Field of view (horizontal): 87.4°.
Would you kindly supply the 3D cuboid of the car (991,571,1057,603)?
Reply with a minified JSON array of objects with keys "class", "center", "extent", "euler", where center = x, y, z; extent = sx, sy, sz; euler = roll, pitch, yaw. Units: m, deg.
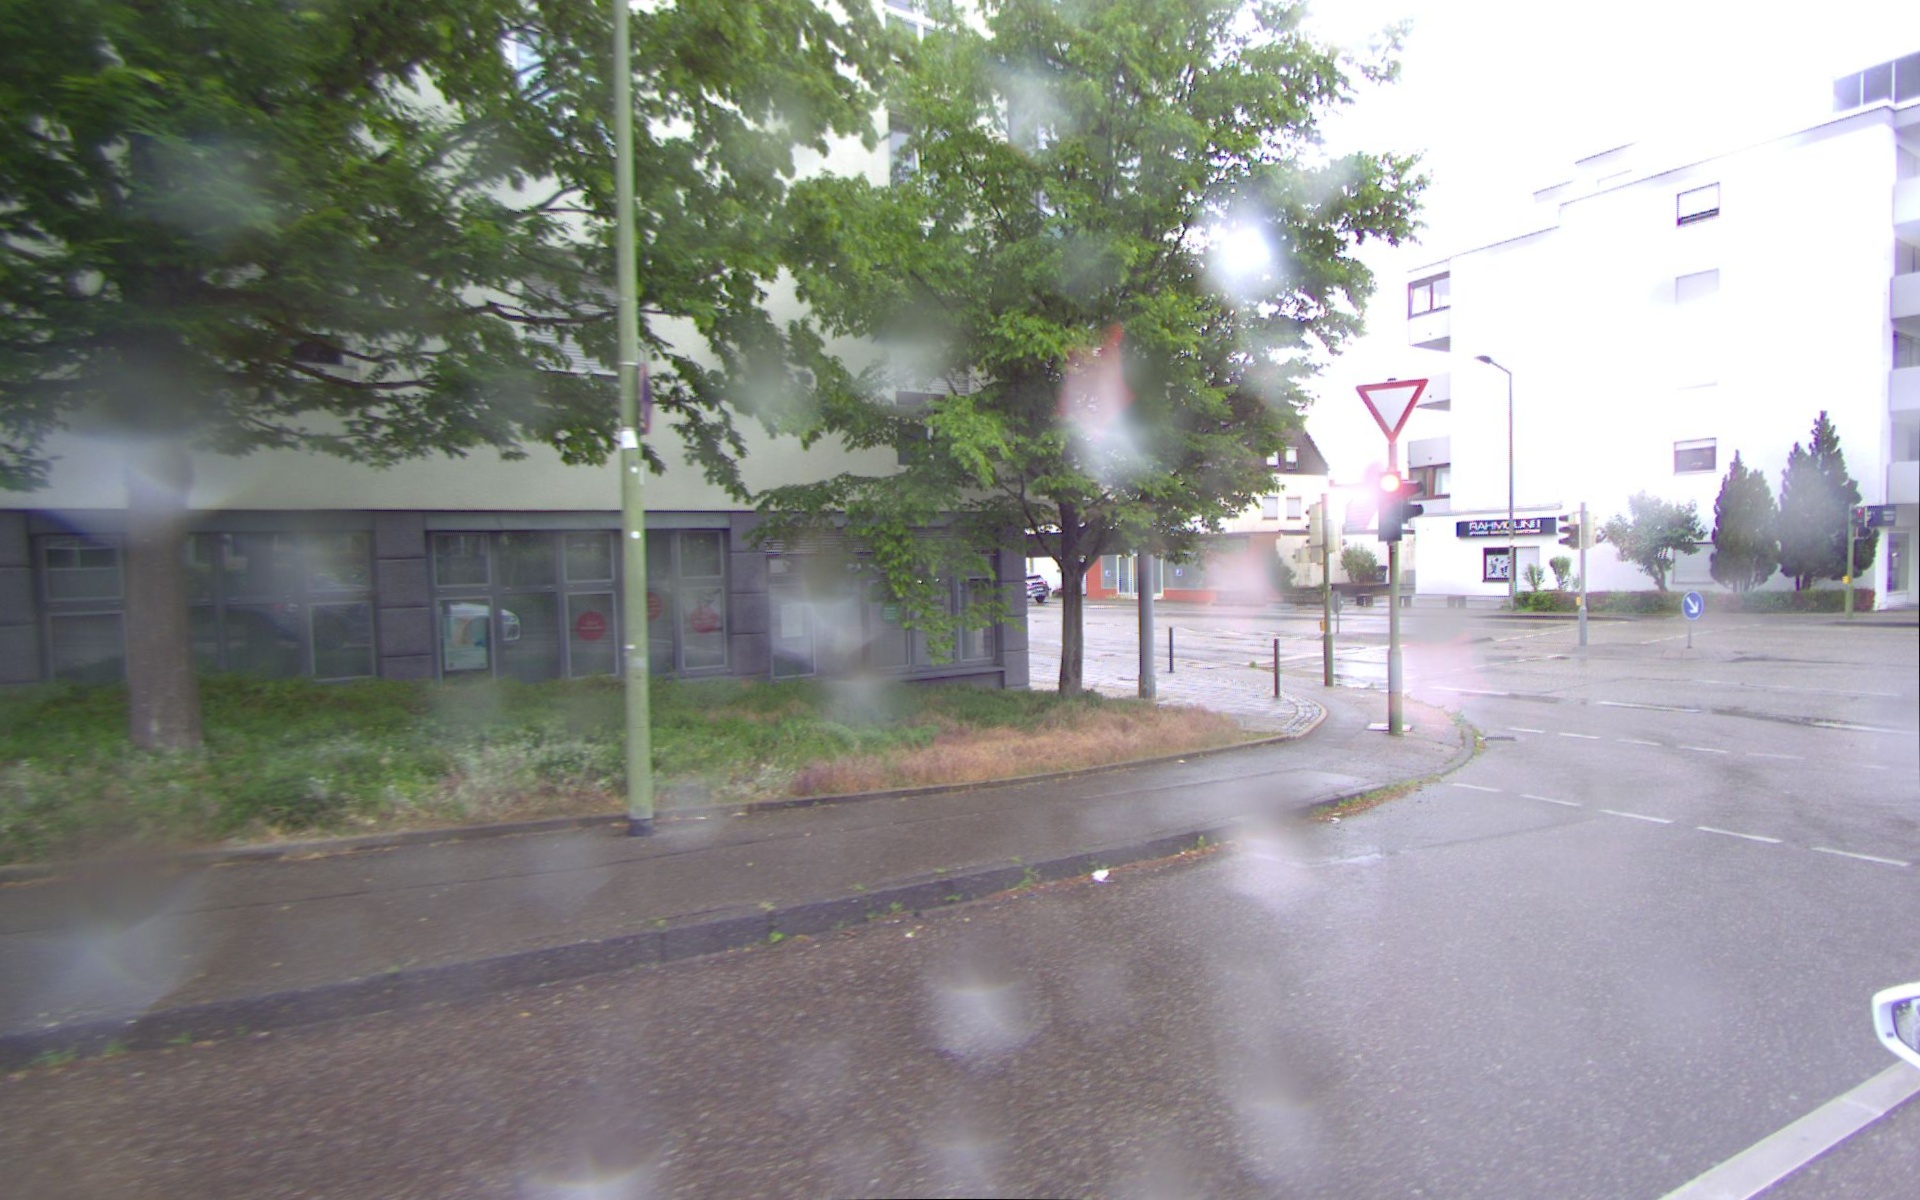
[{"class":"car","center":[3.651,-0.776,58.219],"extent":[1.976,1.718,3.968],"euler":[-1,3,-30]}]
